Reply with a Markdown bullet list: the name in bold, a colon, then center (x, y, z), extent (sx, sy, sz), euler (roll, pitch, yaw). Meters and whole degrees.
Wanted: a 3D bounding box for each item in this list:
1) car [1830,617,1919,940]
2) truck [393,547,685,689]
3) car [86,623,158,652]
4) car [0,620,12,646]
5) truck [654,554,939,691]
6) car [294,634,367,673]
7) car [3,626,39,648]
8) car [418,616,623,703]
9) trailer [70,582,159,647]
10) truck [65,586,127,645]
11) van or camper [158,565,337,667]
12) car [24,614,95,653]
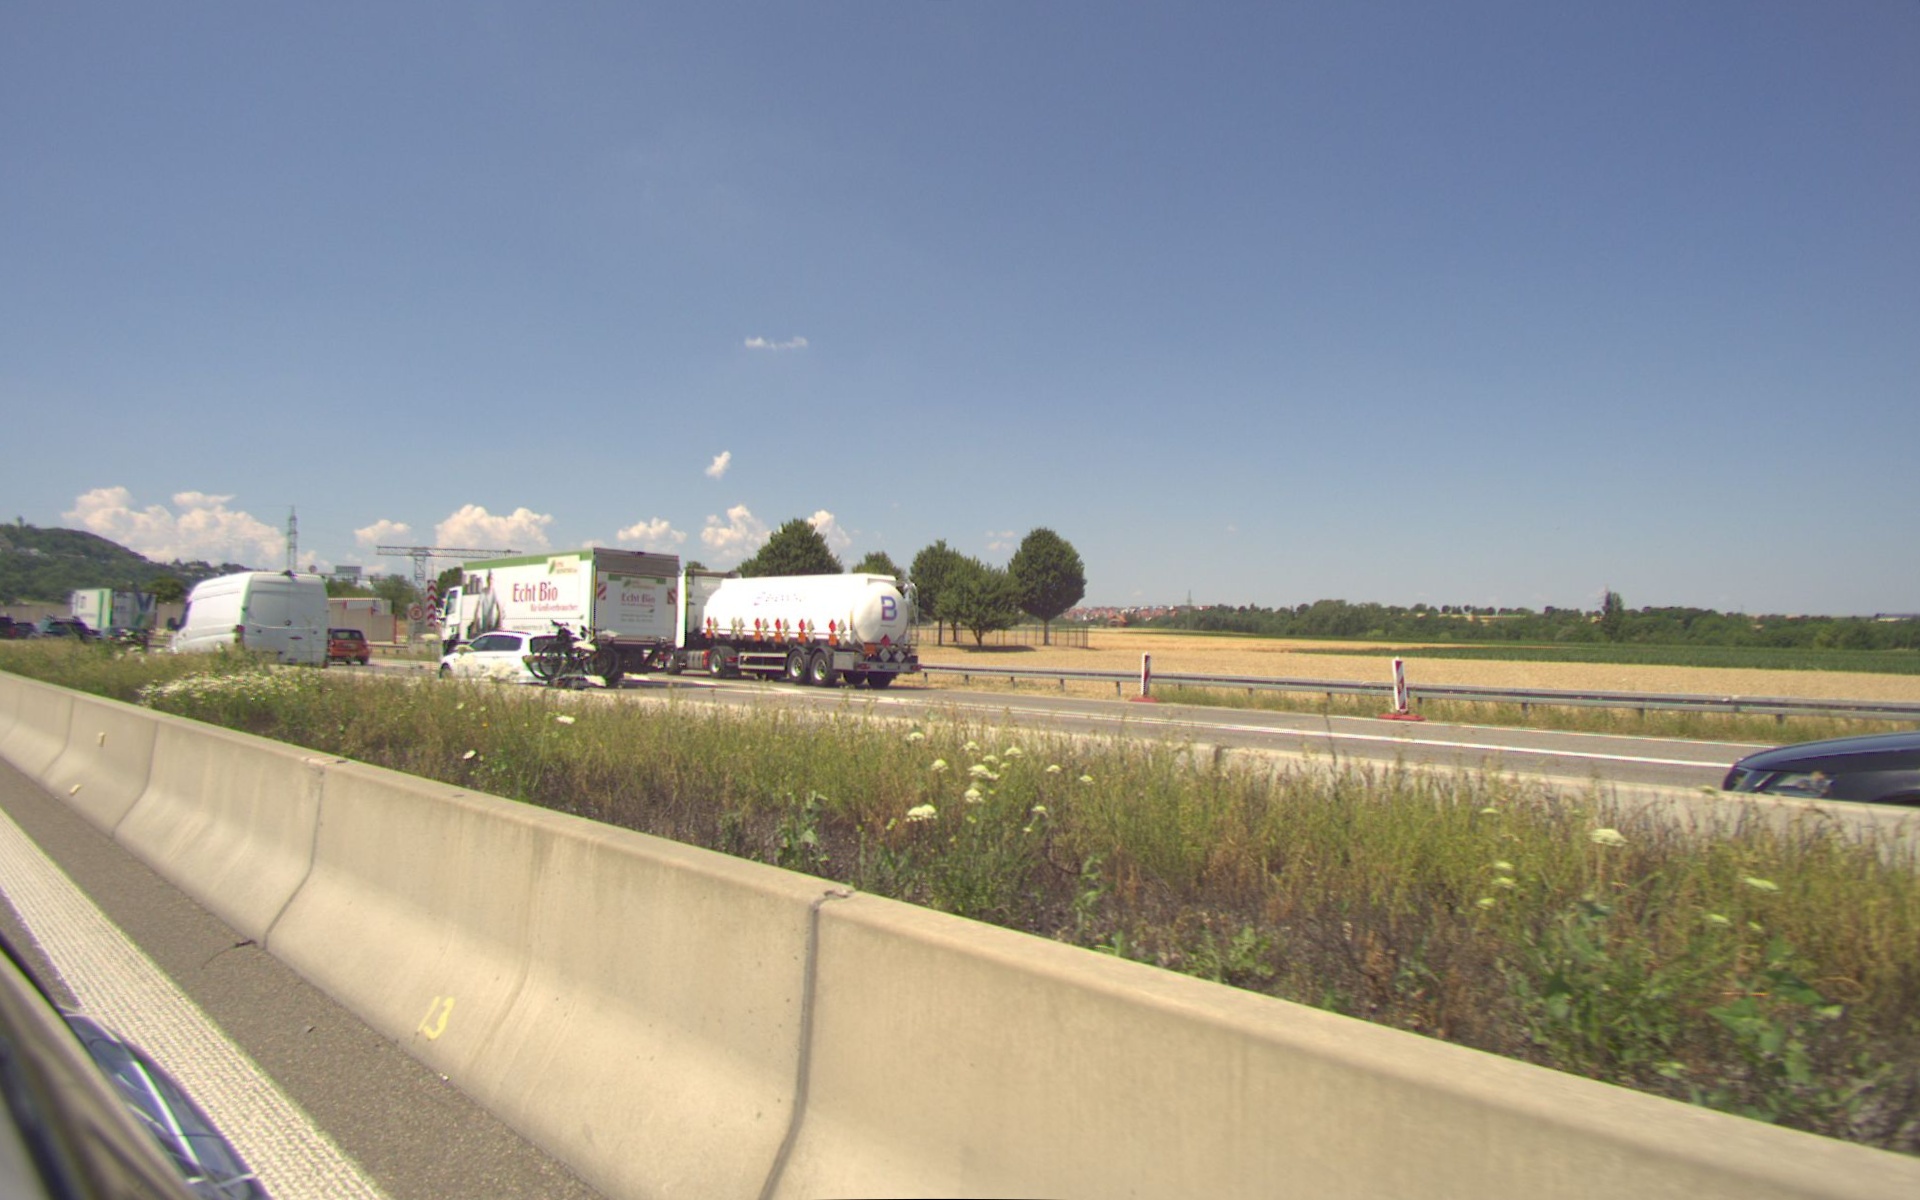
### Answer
- **car**: center (6.424, 0.795, 3.960), extent (4.530, 1.480, 1.581), euler (-2, -3, 41)
- **truck**: center (-13.491, 0.652, 31.299), extent (13.284, 3.637, 2.765), euler (-1, -4, 42)
- **car**: center (-42.868, 1.916, 51.731), extent (5.082, 1.397, 1.993), euler (-2, -3, 41)
- **car**: center (-60.051, 2.026, 62.440), extent (5.342, 1.581, 1.824), euler (-1, -2, 42)
- **truck**: center (-6.068, 0.870, 34.052), extent (2.863, 3.806, 13.308), euler (4, -4, -40)
- **car**: center (-26.577, 2.232, 42.693), extent (3.936, 1.527, 1.546), euler (-1, -2, 42)
- **car**: center (-74.041, 2.927, 79.749), extent (4.663, 1.664, 1.638), euler (-1, -2, 42)
- **car**: center (-9.887, 1.269, 22.539), extent (5.517, 1.723, 1.867), euler (-1, -4, 40)
- **trailer**: center (-62.315, 1.163, 74.430), extent (12.987, 4.408, 2.862), euler (-1, -4, 41)
- **truck**: center (-67.335, 1.223, 78.835), extent (4.900, 4.408, 2.840), euler (-1, -4, 41)
- **van or camper**: center (-18.034, 0.424, 25.407), extent (7.204, 2.238, 2.014), euler (-2, -1, 41)
- **car**: center (-38.702, 1.414, 43.473), extent (4.539, 1.602, 1.763), euler (-1, -2, 42)
